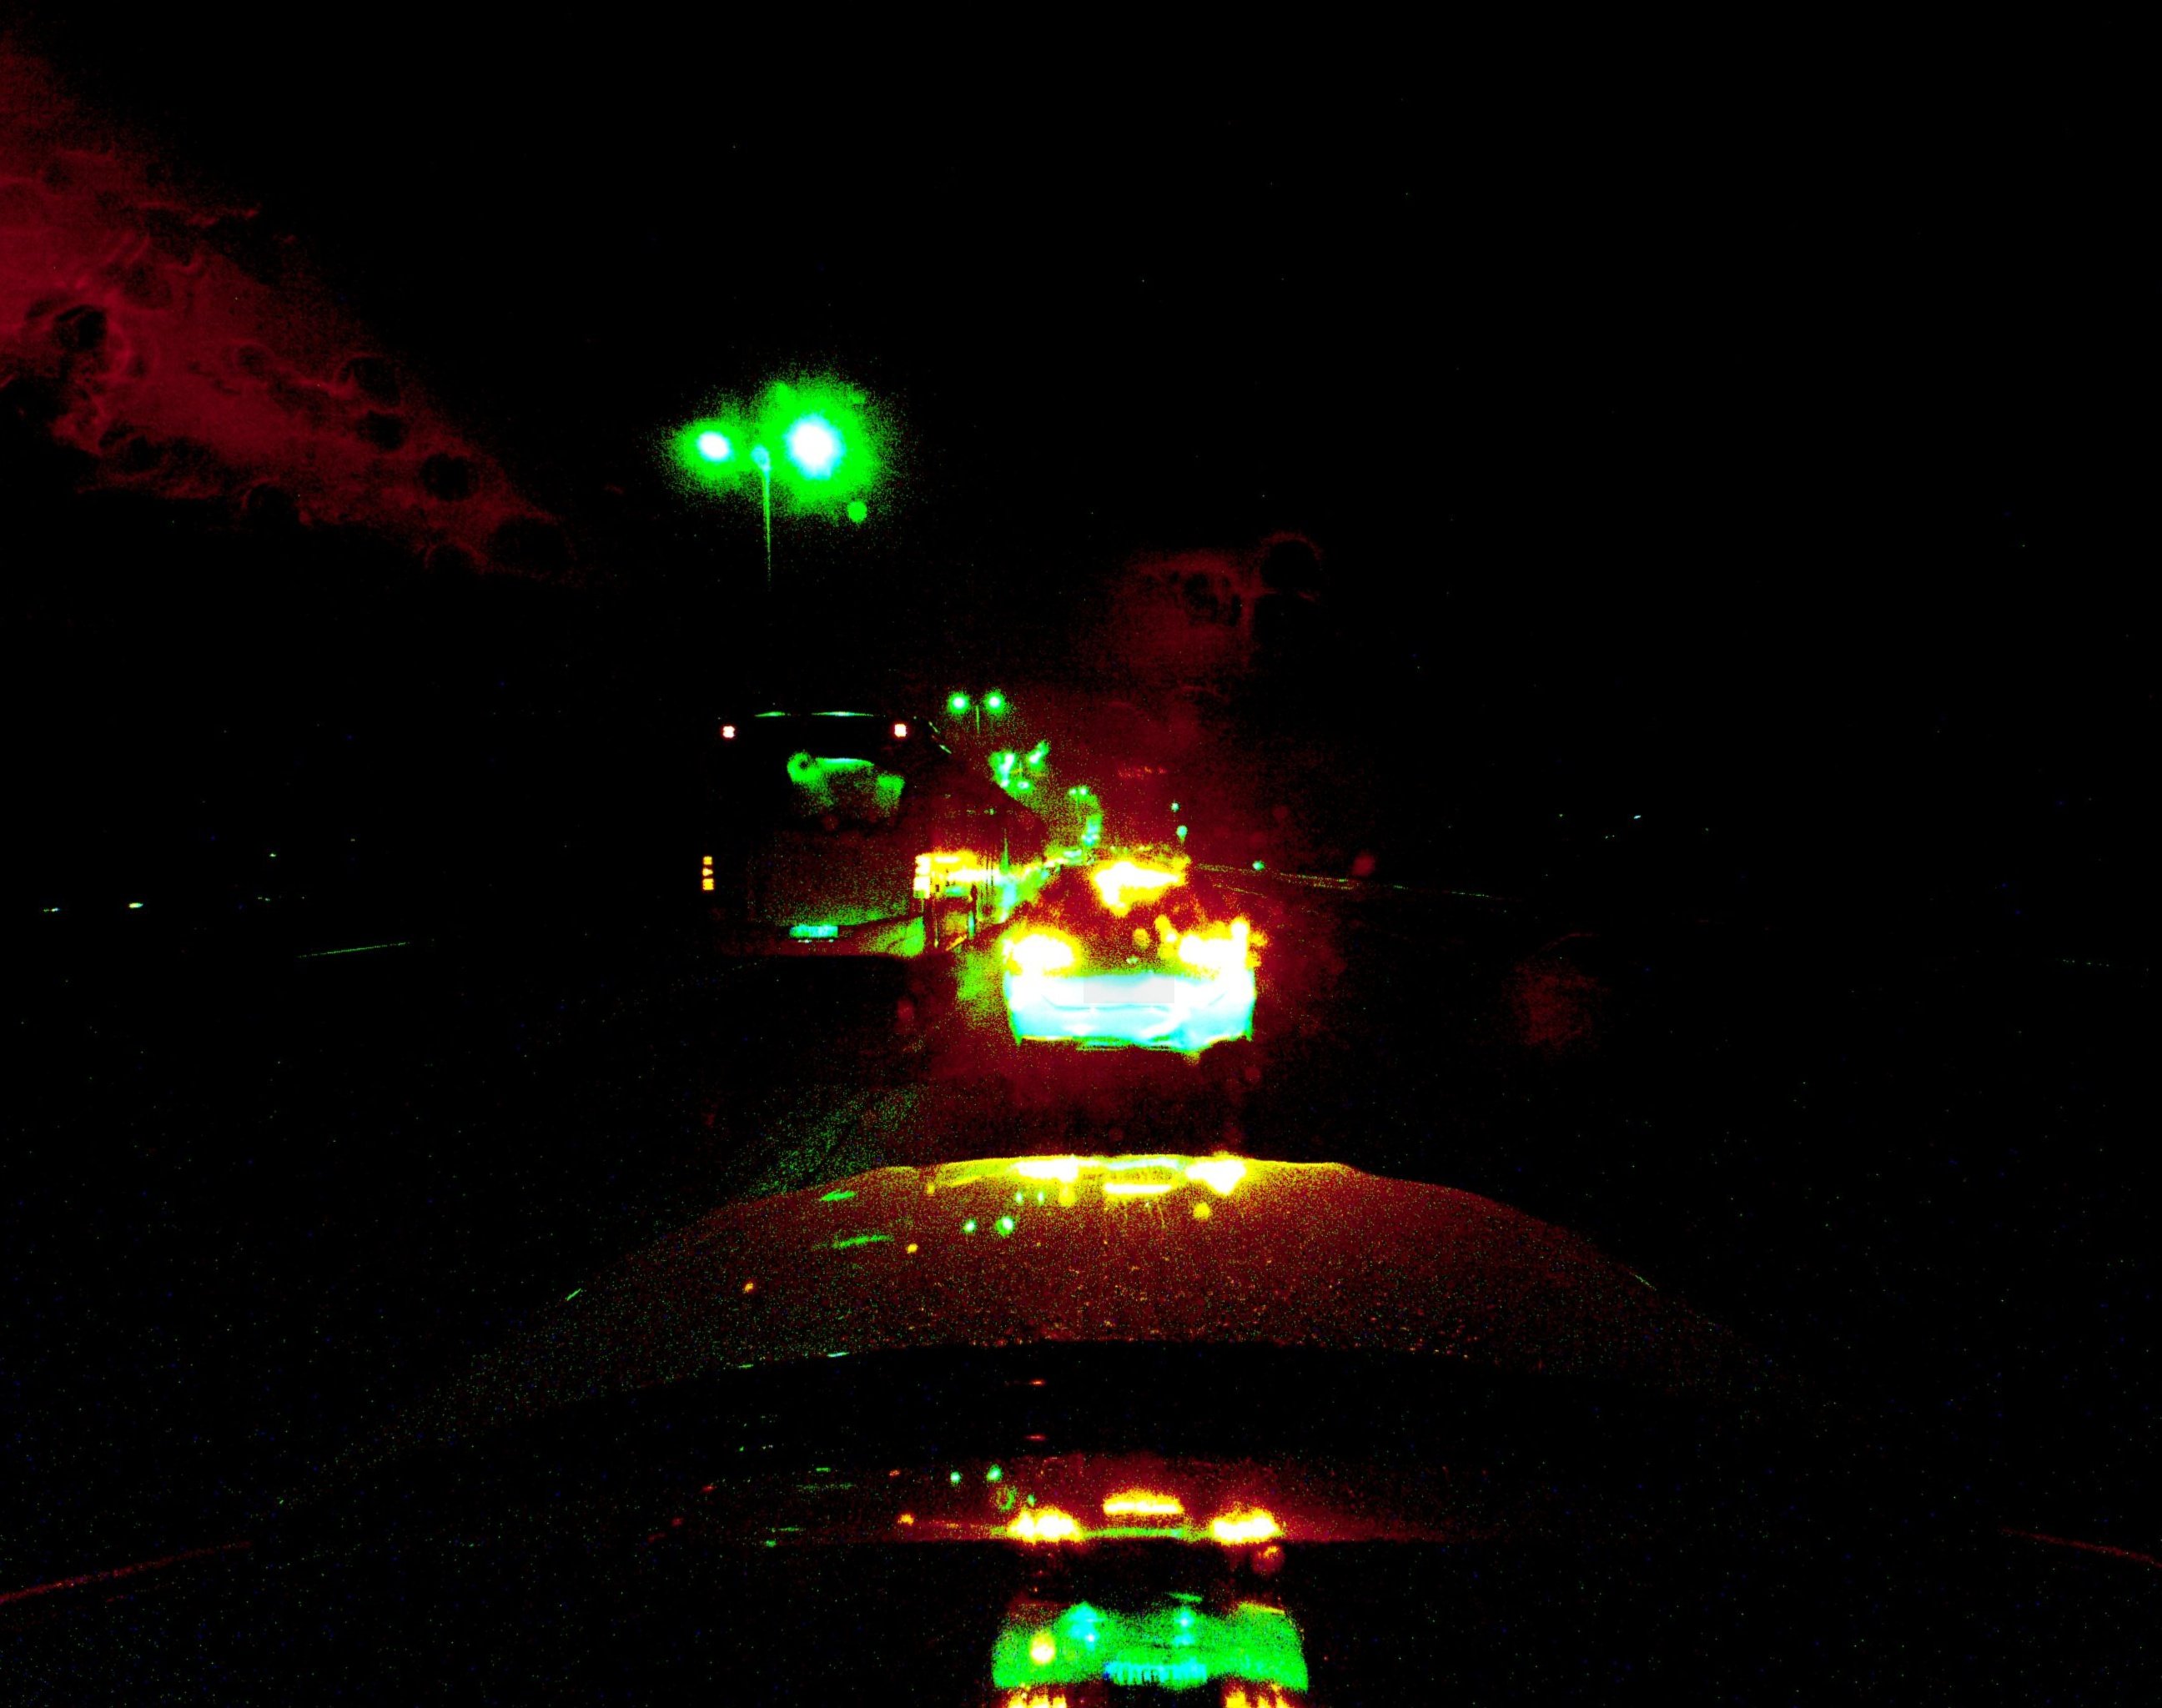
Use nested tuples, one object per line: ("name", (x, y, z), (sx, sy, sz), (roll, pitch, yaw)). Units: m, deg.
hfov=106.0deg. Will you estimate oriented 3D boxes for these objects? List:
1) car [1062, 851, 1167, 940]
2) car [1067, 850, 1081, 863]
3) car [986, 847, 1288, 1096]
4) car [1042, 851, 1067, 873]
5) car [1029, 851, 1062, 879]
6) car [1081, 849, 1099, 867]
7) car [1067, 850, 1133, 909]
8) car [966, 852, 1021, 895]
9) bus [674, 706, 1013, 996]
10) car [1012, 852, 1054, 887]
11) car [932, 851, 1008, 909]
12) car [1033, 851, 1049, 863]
("car", (0.550, 0.680, 15.876), (1.726, 1.449, 4.724), (-1, 0, 0))
("car", (-0.958, 0.357, 114.176), (1.810, 1.797, 3.804), (0, 0, 2))
("car", (0.407, 0.712, 7.253), (1.815, 1.484, 4.569), (-1, 0, 2))
("car", (-1.974, 0.575, 60.387), (1.775, 1.543, 3.872), (-1, 0, -2))
("car", (-2.062, 0.620, 48.613), (1.774, 1.543, 3.874), (-1, 0, 0))
("car", (1.104, 0.416, 94.607), (1.986, 2.013, 4.002), (-1, 0, 2))
("car", (0.487, 0.691, 23.835), (1.735, 1.565, 3.774), (-1, 0, -2))
("car", (-3.286, 0.705, 31.306), (1.775, 1.543, 3.872), (-1, 0, -2))
("bus", (-2.870, -0.048, 12.959), (2.806, 3.024, 8.685), (-1, 0, 0))
("car", (-2.201, 0.681, 38.343), (1.774, 1.543, 3.873), (-1, 0, -1))
("car", (-3.138, 0.689, 23.668), (1.775, 1.543, 3.872), (-1, 0, -2))
("car", (-5.812, 0.434, 119.194), (1.986, 1.640, 4.002), (-1, 0, 2))
